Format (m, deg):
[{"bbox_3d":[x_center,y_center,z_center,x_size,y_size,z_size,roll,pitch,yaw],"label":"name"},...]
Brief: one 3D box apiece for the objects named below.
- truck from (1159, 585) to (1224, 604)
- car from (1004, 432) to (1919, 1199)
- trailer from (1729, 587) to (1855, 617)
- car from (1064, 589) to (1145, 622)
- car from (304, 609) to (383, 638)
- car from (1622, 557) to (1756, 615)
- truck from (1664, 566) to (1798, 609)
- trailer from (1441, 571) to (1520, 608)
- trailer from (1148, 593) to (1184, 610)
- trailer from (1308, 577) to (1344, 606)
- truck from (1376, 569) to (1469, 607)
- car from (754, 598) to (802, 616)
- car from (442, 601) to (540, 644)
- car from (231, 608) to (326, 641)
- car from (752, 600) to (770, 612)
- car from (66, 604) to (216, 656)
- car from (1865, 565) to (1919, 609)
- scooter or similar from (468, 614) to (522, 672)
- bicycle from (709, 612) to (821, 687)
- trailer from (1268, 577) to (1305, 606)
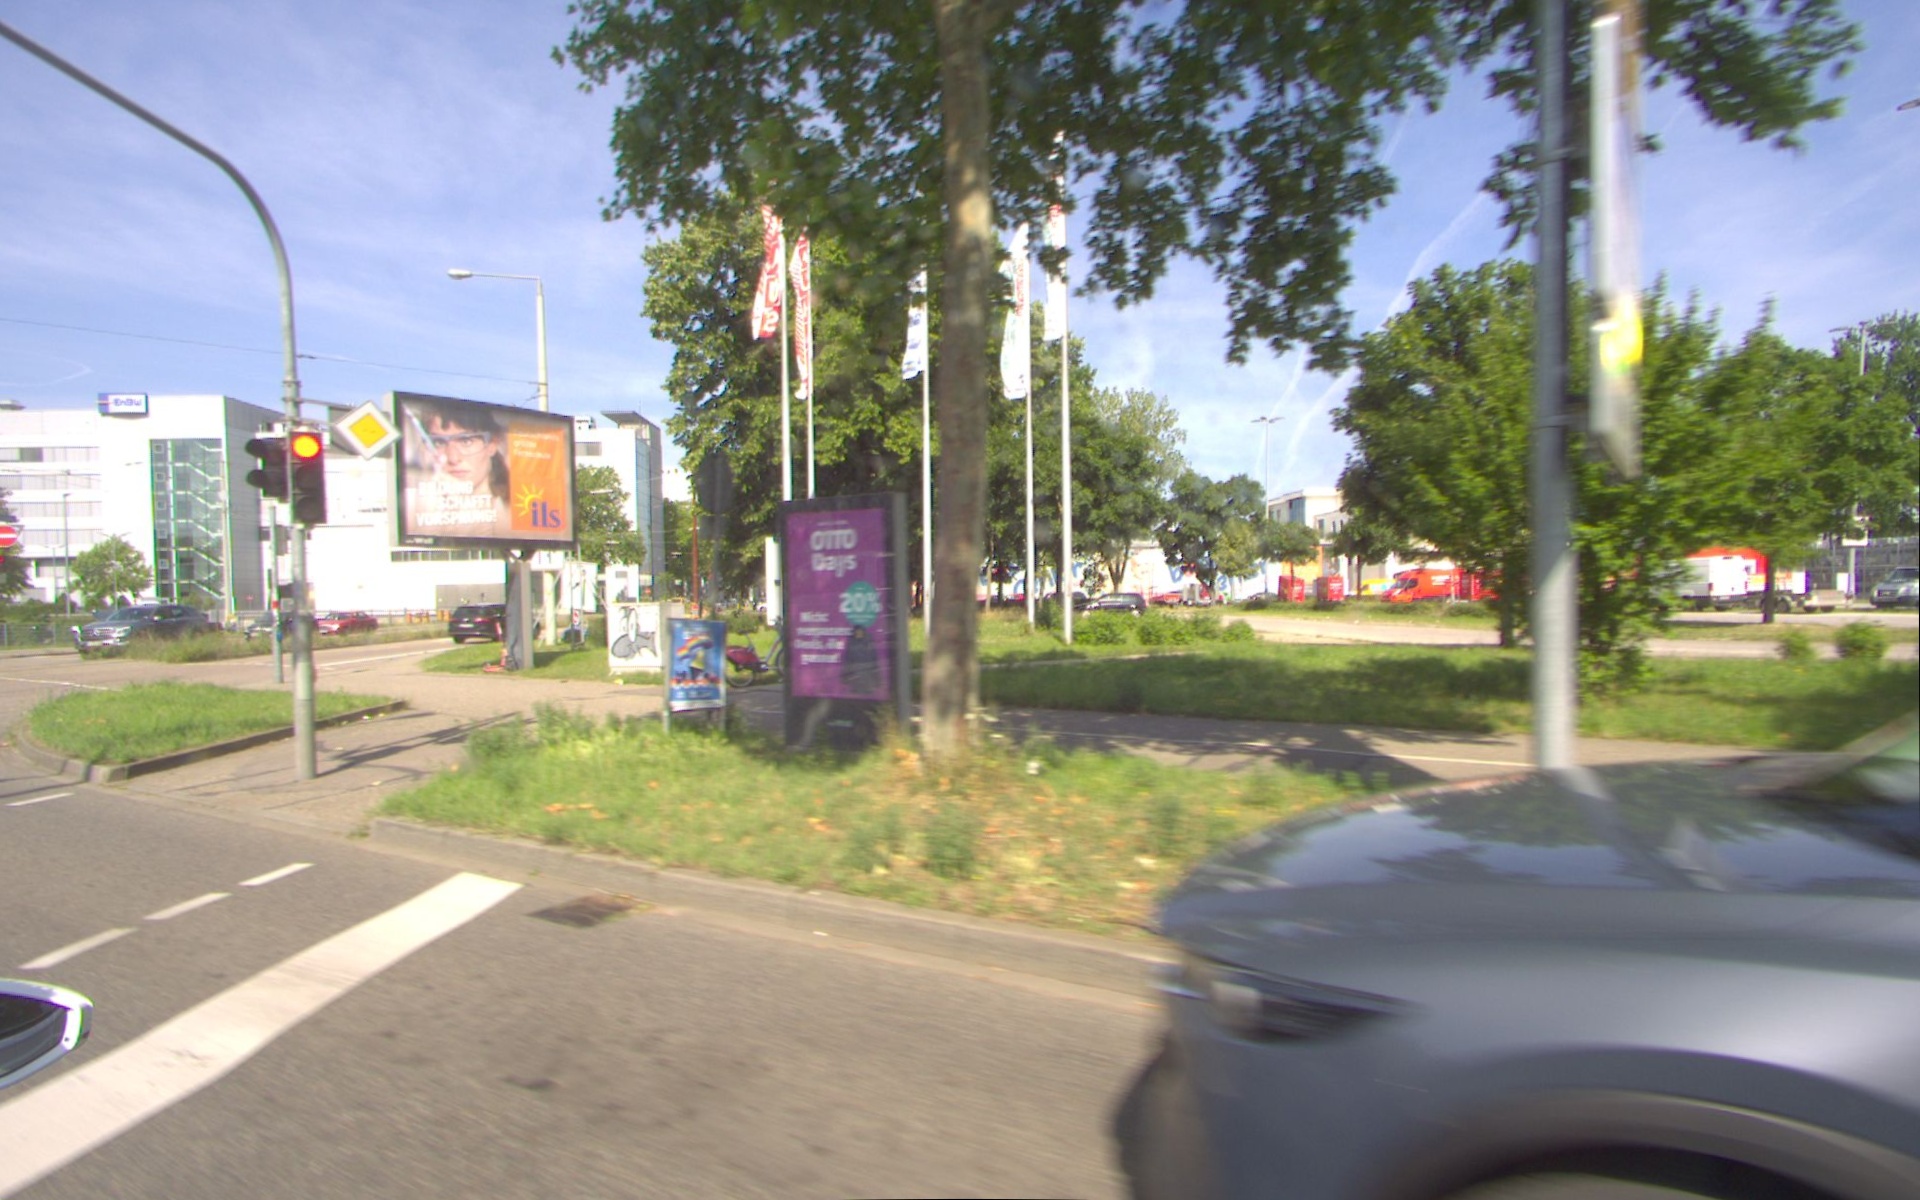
[{"bbox_3d":[23.081,-0.549,99.911,5.889,1.855,2.188,0,-1,-3],"label":"truck"},{"bbox_3d":[2.419,0.649,1.387,4.430,1.680,1.763,-1,-1,31],"label":"car"},{"bbox_3d":[36.227,0.063,43.761,2.029,1.137,4.030,-3,0,-3],"label":"trailer"},{"bbox_3d":[7.453,0.284,51.870,3.972,1.608,1.730,-1,1,4],"label":"car"},{"bbox_3d":[-33.798,1.257,55.035,1.747,1.463,4.625,-1,0,-4],"label":"car"},{"bbox_3d":[35.750,-0.664,49.344,1.980,2.576,5.686,-3,1,-6],"label":"car"},{"bbox_3d":[41.805,-0.657,54.371,5.751,2.168,2.066,-1,1,-1],"label":"truck"},{"bbox_3d":[34.564,-0.726,66.561,4.325,2.409,1.751,0,2,-1],"label":"trailer"},{"bbox_3d":[16.963,0.117,82.582,1.560,1.304,4.409,-1,0,-8],"label":"trailer"},{"bbox_3d":[30.770,-0.711,84.261,1.520,2.390,4.410,0,1,1],"label":"trailer"},{"bbox_3d":[33.329,-0.841,72.283,5.914,2.644,2.018,-1,1,-7],"label":"truck"},{"bbox_3d":[-18.581,0.687,102.491,4.536,1.711,1.915,-1,1,-2],"label":"car"},{"bbox_3d":[-17.944,0.819,38.571,1.815,1.530,4.393,-1,0,-2],"label":"car"},{"bbox_3d":[-33.510,1.152,49.390,1.747,1.463,4.625,-1,0,-4],"label":"car"},{"bbox_3d":[-26.857,0.805,135.014,1.815,1.530,4.342,-1,0,-4],"label":"car"},{"bbox_3d":[-29.775,1.048,36.615,1.879,1.711,4.625,-1,0,-4],"label":"car"},{"bbox_3d":[42.427,-0.578,43.546,4.738,1.841,1.873,0,2,-7],"label":"car"},{"bbox_3d":[-9.362,0.857,20.155,1.107,1.141,0.423,-1,1,31],"label":"scooter or similar"},{"bbox_3d":[-3.235,0.797,16.704,1.771,1.123,0.499,-3,2,-40],"label":"bicycle"},{"bbox_3d":[27.616,-0.716,84.845,1.560,2.409,4.409,0,1,-2],"label":"trailer"}]
